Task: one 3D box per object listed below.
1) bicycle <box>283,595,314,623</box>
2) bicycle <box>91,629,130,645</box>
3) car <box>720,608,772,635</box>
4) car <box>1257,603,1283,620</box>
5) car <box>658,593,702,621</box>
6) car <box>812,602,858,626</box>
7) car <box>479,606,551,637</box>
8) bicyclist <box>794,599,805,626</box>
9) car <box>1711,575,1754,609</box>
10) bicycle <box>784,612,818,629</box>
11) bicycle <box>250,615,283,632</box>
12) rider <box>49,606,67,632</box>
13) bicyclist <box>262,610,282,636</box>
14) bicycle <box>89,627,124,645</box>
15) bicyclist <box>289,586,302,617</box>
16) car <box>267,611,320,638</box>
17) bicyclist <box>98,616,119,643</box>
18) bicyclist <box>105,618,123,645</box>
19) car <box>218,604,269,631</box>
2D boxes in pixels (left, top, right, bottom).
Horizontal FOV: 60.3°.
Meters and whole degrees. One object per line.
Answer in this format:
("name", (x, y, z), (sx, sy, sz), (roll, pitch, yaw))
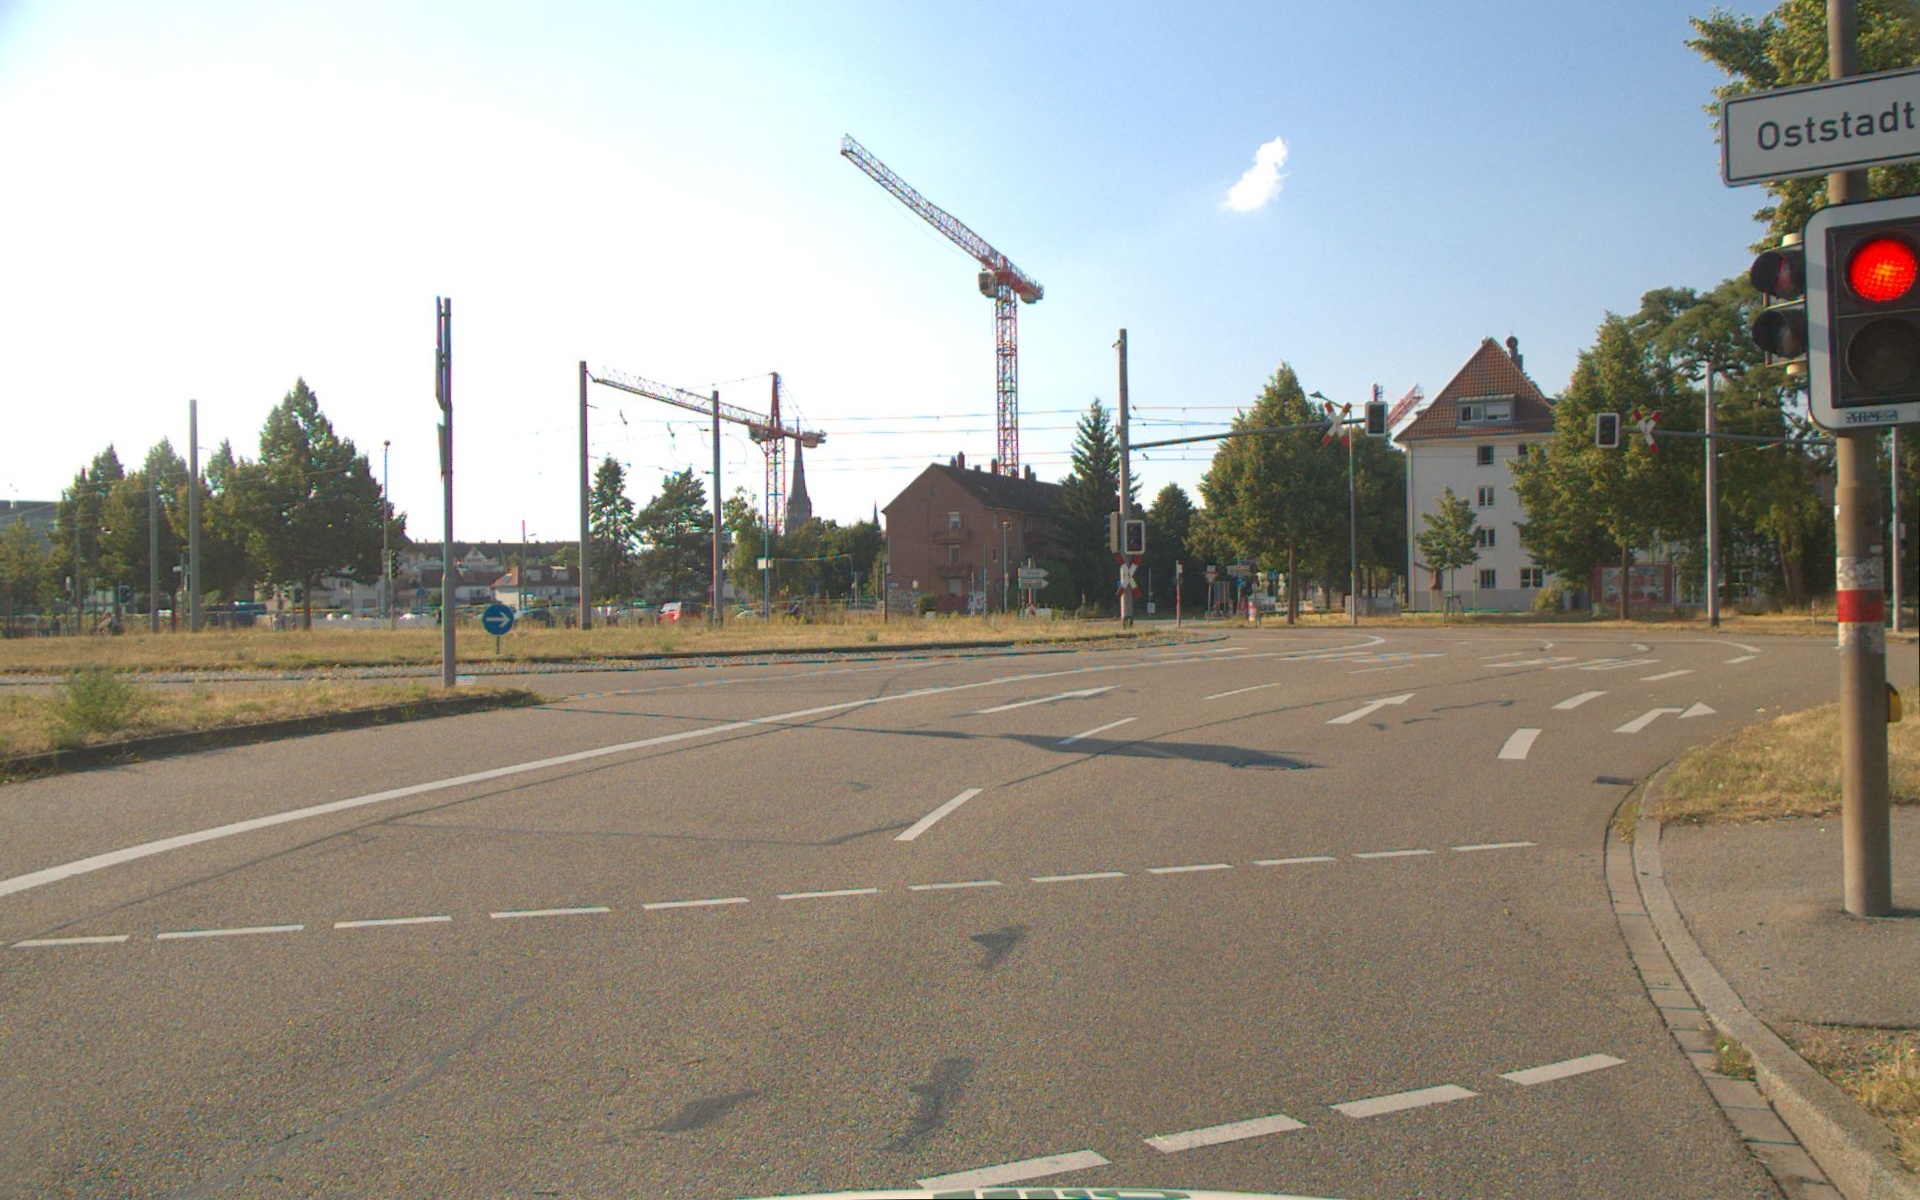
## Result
("bicycle", (-36.629, 0.506, 91.620), (1.524, 1.499, 0.474), (-1, 0, -33))
("bicycle", (-43.475, 1.894, 84.673), (0.472, 0.757, 1.711), (-1, 0, 42))
("car", (-17.136, 1.739, 132.494), (3.728, 2.049, 1.673), (-1, -1, 18))
("car", (26.333, 0.993, 140.443), (1.426, 1.323, 3.547), (-1, 0, 23))
("car", (-19.670, 0.475, 116.015), (1.898, 1.886, 3.962), (-1, 0, -28))
("car", (-11.309, 1.266, 149.338), (3.728, 2.049, 1.673), (-1, -1, 18))
("car", (-28.114, 1.325, 104.509), (3.950, 1.847, 1.977), (-1, 0, -33))
("bicyclist", (-9.302, 0.700, 95.854), (0.610, 1.537, 0.418), (-1, 0, -6))
("car", (38.610, -0.397, 82.643), (1.737, 1.646, 3.963), (-1, -1, 27))
("bicycle", (-9.201, 1.194, 95.859), (1.949, 0.934, 0.429), (-1, 0, -6))
("bicycle", (-37.611, 1.267, 89.735), (1.595, 0.875, 0.540), (-1, 0, -27))
("rider", (-48.251, 1.010, 88.474), (0.676, 1.349, 0.650), (-1, 0, 43))
("bicyclist", (-37.384, 1.253, 89.902), (0.943, 1.381, 0.687), (-1, 0, -27))
("bicycle", (-44.626, 1.876, 86.502), (1.595, 0.875, 0.540), (-1, 0, -27))
("bicyclist", (-36.785, 0.080, 91.545), (0.601, 1.701, 0.473), (0, -1, -32))
("car", (-52.293, 1.938, 129.720), (3.917, 2.049, 1.994), (-1, 0, 34))
("bicyclist", (-44.541, 1.539, 86.553), (0.943, 1.381, 0.687), (-1, 0, -28))
("bicyclist", (-43.367, 1.623, 84.791), (0.510, 1.349, 0.650), (-1, 0, 42))
("car", (-58.527, 1.432, 135.041), (3.917, 2.049, 1.994), (-1, 0, 34))
